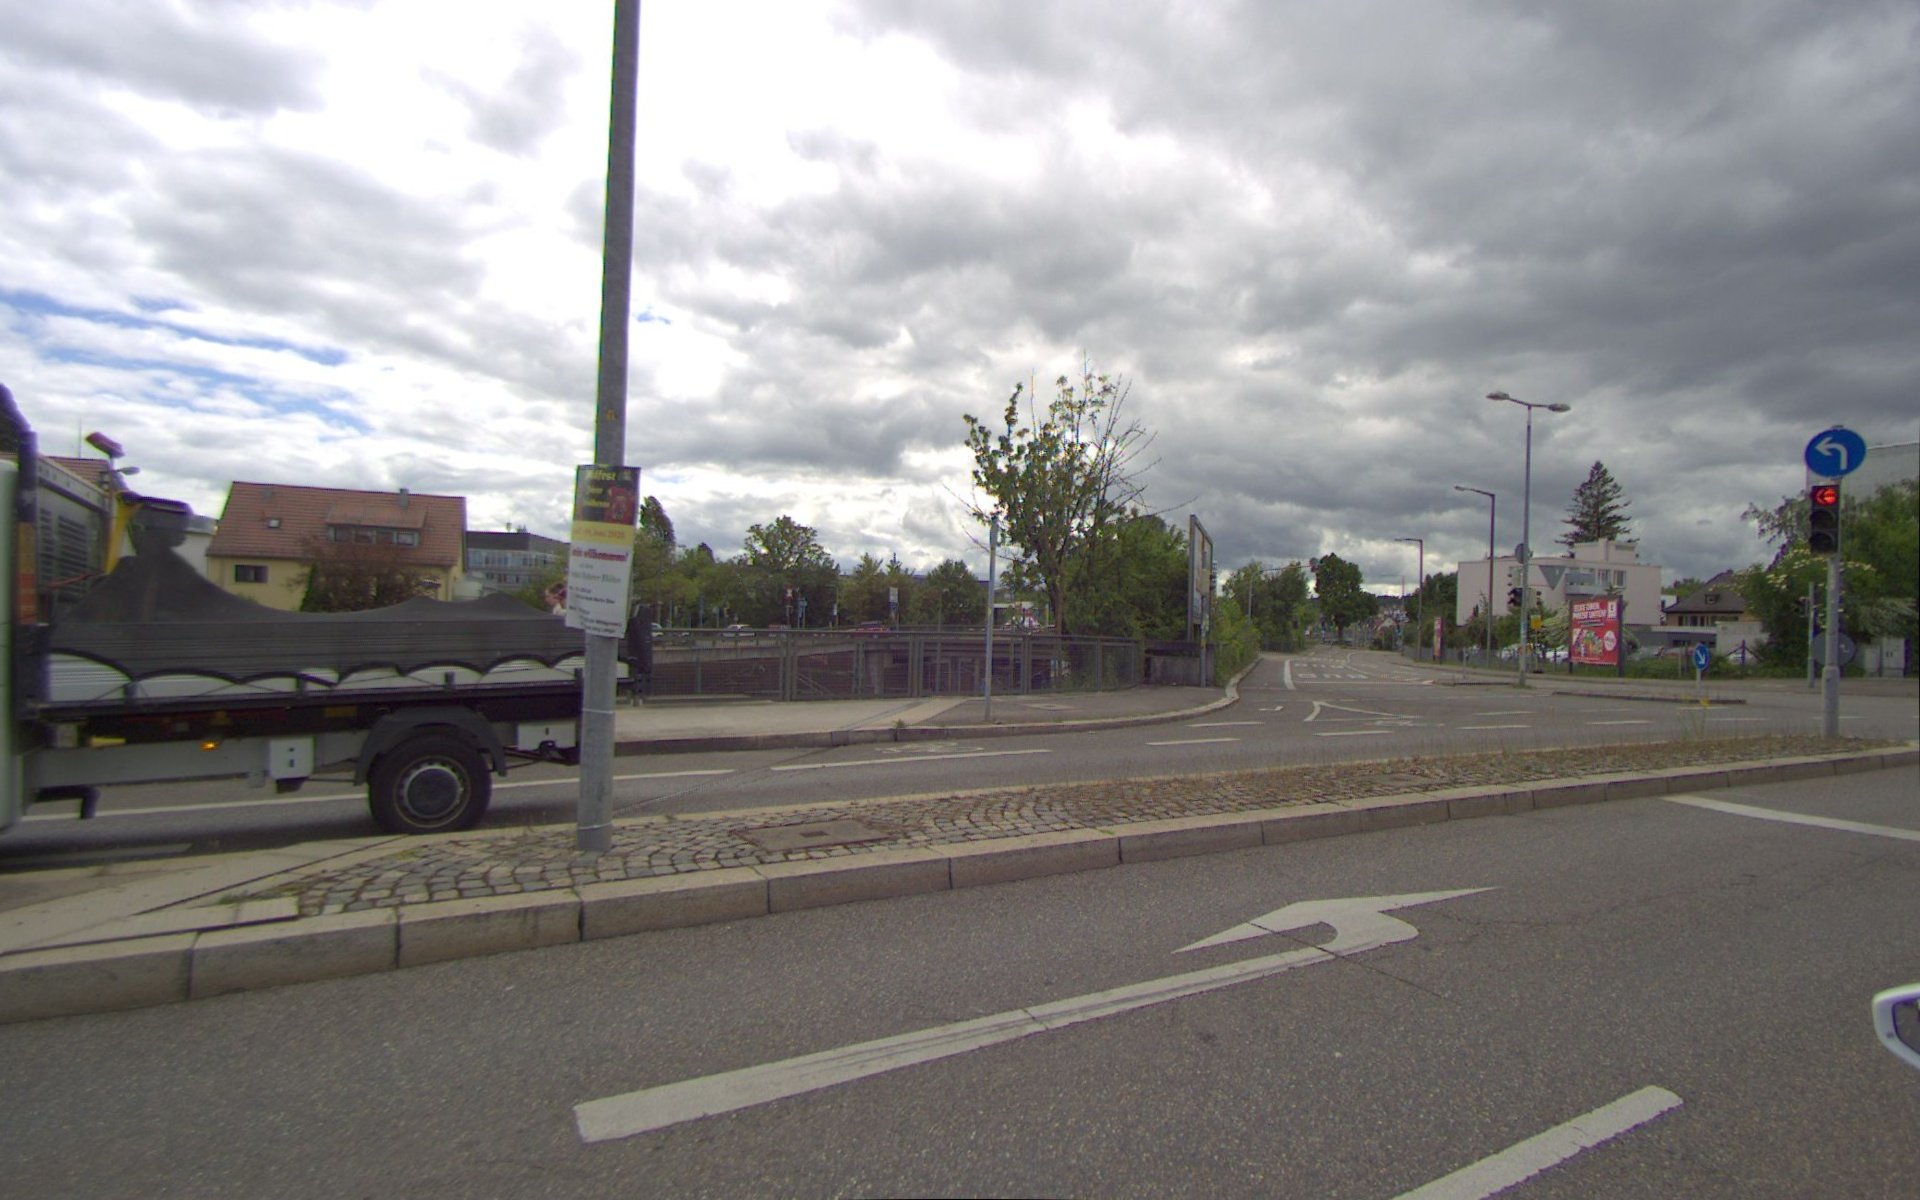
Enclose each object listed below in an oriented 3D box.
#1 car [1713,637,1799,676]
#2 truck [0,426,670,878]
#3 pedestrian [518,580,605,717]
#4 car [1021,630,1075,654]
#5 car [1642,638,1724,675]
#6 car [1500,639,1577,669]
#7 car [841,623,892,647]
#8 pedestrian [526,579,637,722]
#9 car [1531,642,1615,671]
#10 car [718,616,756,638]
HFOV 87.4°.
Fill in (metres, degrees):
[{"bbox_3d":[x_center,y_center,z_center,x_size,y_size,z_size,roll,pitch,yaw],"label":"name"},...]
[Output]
[{"bbox_3d":[47.206,3.331,59.597,3.932,2.040,1.994,2,1,-14],"label":"car"},{"bbox_3d":[-5.412,0.280,6.021,6.730,2.294,2.114,2,-2,-32],"label":"truck"},{"bbox_3d":[-5.049,0.597,12.722,0.826,1.655,0.650,2,0,-39],"label":"pedestrian"},{"bbox_3d":[6.940,3.296,78.939,3.919,1.592,1.893,2,1,13],"label":"car"},{"bbox_3d":[45.240,3.528,62.877,3.932,2.040,1.994,2,1,-14],"label":"car"},{"bbox_3d":[36.398,3.403,63.212,3.926,1.741,1.800,1,-1,-8],"label":"car"},{"bbox_3d":[-7.924,2.943,85.355,3.922,1.684,1.798,3,2,21],"label":"car"},{"bbox_3d":[-4.588,0.594,12.181,1.062,1.655,0.650,2,0,-39],"label":"pedestrian"},{"bbox_3d":[35.702,3.275,58.574,3.926,1.574,1.800,1,-1,-8],"label":"car"},{"bbox_3d":[-21.163,2.548,95.213,1.723,1.685,3.950,1,2,-42],"label":"car"}]
